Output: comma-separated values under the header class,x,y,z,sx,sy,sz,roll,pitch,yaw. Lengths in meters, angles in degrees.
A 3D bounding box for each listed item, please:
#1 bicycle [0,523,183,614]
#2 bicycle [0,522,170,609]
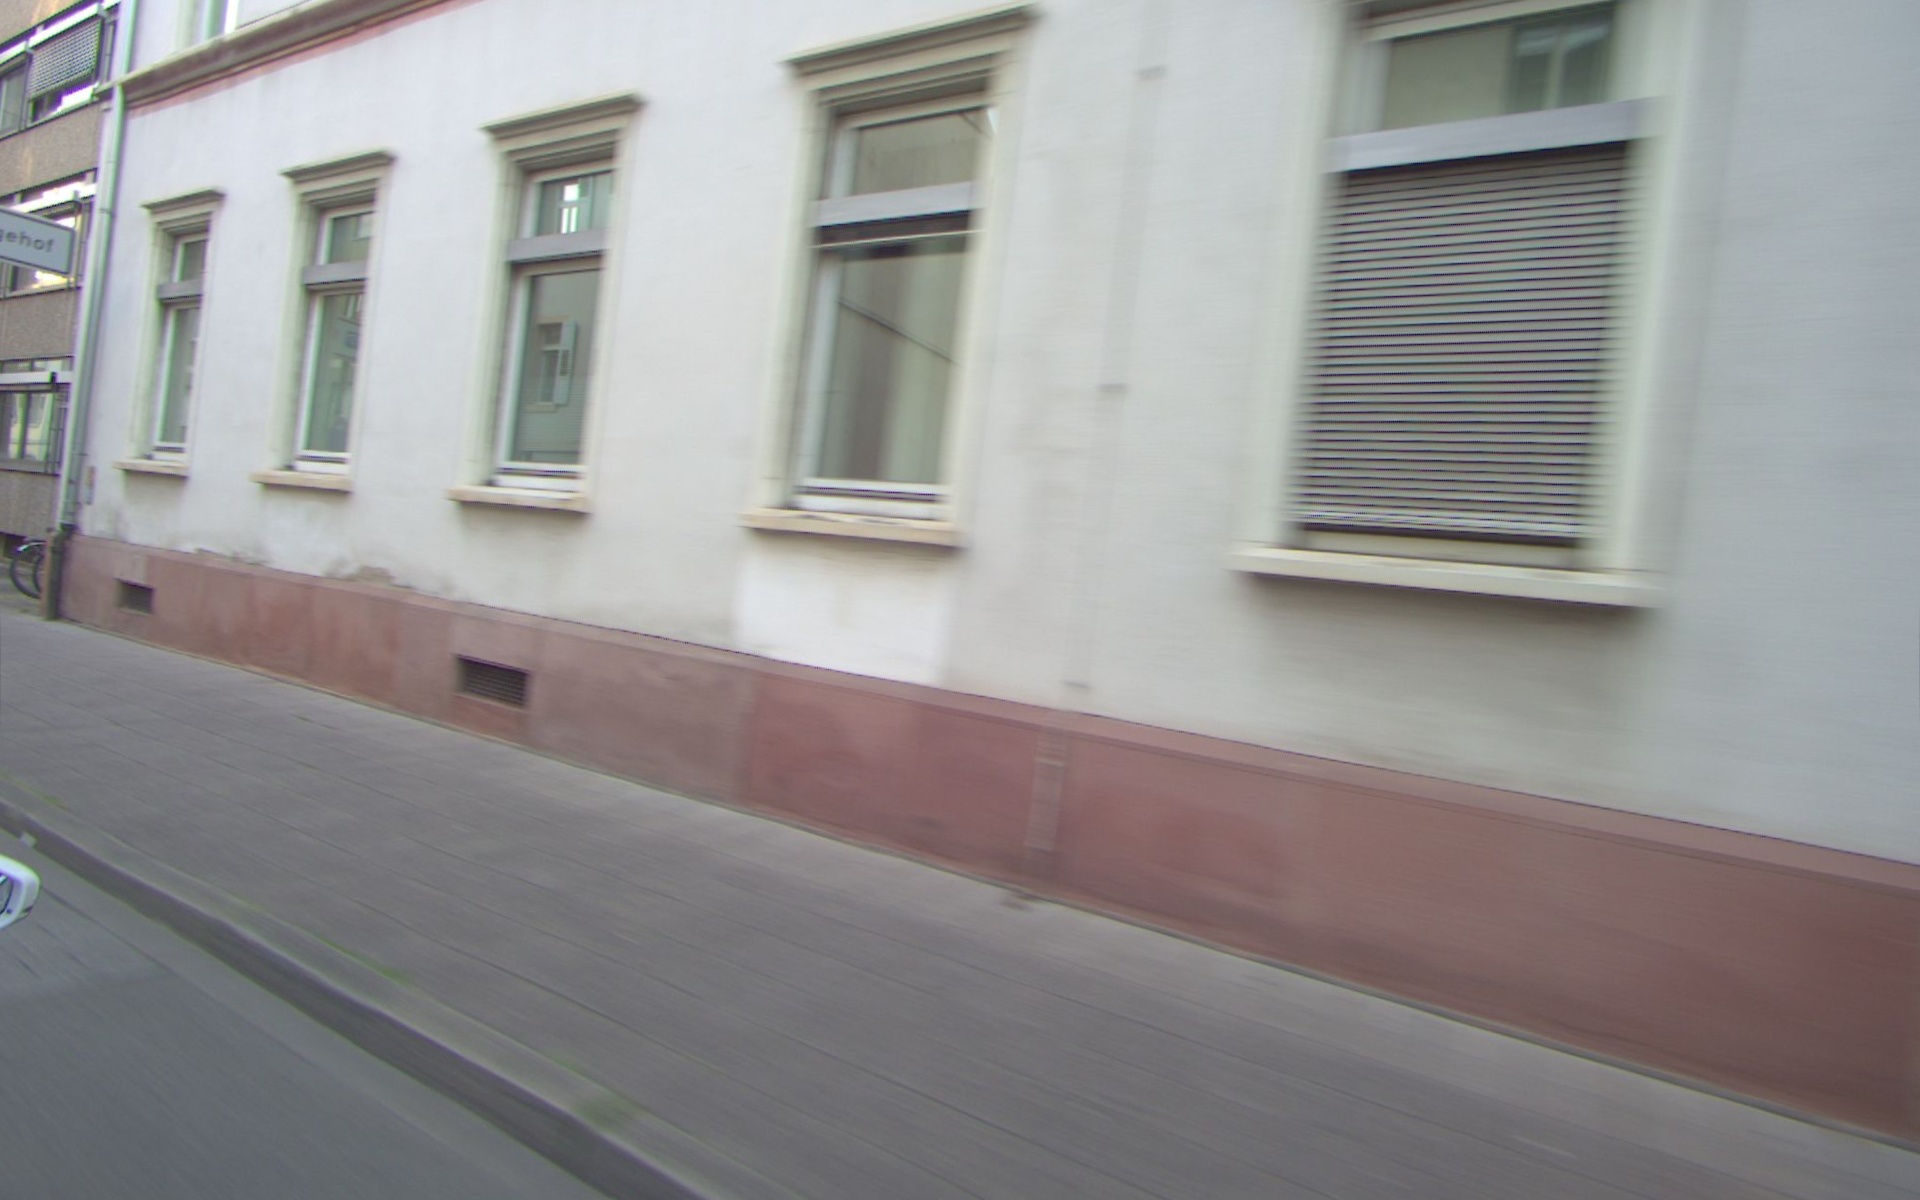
class,x,y,z,sx,sy,sz,roll,pitch,yaw
bicycle,-11.093,-0.370,12.797,0.528,0.934,1.801,7,-1,23
bicycle,-11.683,-0.432,13.368,0.528,0.934,1.745,7,-1,24
